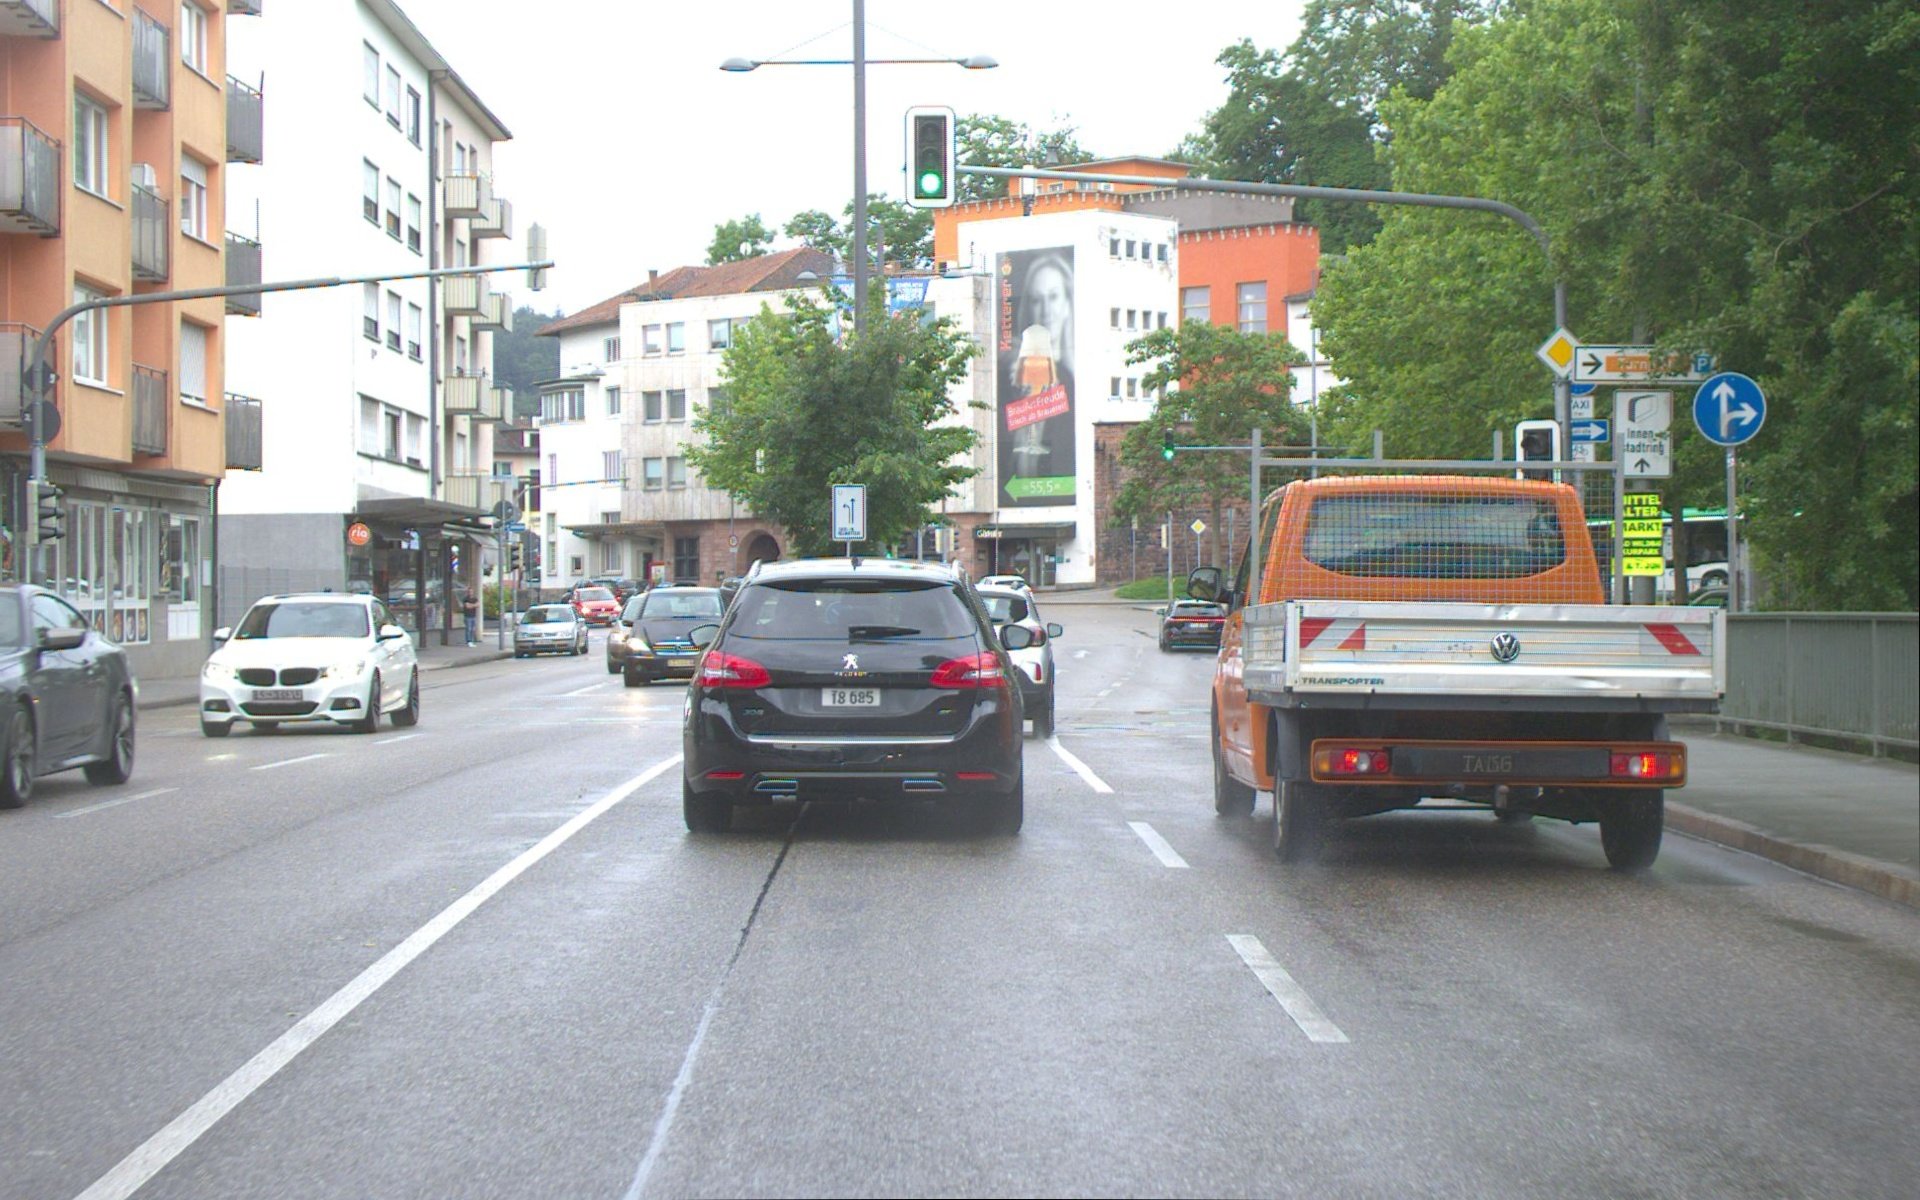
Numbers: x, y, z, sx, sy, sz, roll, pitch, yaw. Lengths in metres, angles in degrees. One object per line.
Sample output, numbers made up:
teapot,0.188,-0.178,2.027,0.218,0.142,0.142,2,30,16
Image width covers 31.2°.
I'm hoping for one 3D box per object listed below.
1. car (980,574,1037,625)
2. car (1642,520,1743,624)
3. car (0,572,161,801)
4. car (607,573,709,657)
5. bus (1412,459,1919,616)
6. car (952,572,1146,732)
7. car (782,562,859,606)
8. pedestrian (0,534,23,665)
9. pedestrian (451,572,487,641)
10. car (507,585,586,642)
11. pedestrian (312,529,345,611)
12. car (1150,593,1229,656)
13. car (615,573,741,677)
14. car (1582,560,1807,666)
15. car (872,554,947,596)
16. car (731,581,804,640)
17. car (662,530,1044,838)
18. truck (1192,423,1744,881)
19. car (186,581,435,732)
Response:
car,1.782,-0.023,127.828,1.993,1.815,4.000,1,1,-1
car,21.547,-0.800,101.234,2.072,2.960,4.227,1,0,1
car,-6.490,0.489,22.024,1.791,1.320,4.407,0,0,-1
car,-6.004,0.276,68.588,1.736,1.596,3.919,0,1,-1
bus,24.979,-2.154,120.275,17.919,5.194,3.098,1,0,3
car,0.912,0.475,34.067,1.795,1.478,4.000,0,0,2
car,-5.401,-0.591,132.497,1.644,1.559,3.600,4,-2,-25
pedestrian,-12.780,-0.006,45.549,0.530,1.721,0.648,0,0,3
pedestrian,-14.486,0.195,101.460,0.726,2.007,0.657,4,-2,-33
car,-11.350,0.357,94.559,1.777,1.520,3.662,0,0,-1
pedestrian,-14.394,-0.681,78.351,0.639,1.854,0.524,1,0,-2
car,6.186,0.680,92.923,1.644,1.559,3.600,3,-2,-3
car,-4.559,0.377,56.034,1.736,1.596,3.919,-1,1,-1
car,14.287,0.248,67.033,3.987,1.918,1.969,2,0,3
car,-2.059,-0.992,138.668,1.644,1.559,3.600,4,-2,-25
car,-4.981,0.259,89.127,1.654,1.445,3.543,-2,0,0
car,-0.483,0.425,19.053,1.795,1.478,4.000,2,0,2
truck,2.430,0.185,17.753,2.122,2.018,4.716,1,1,0
car,-7.002,0.562,37.512,1.836,1.505,4.821,0,1,0
